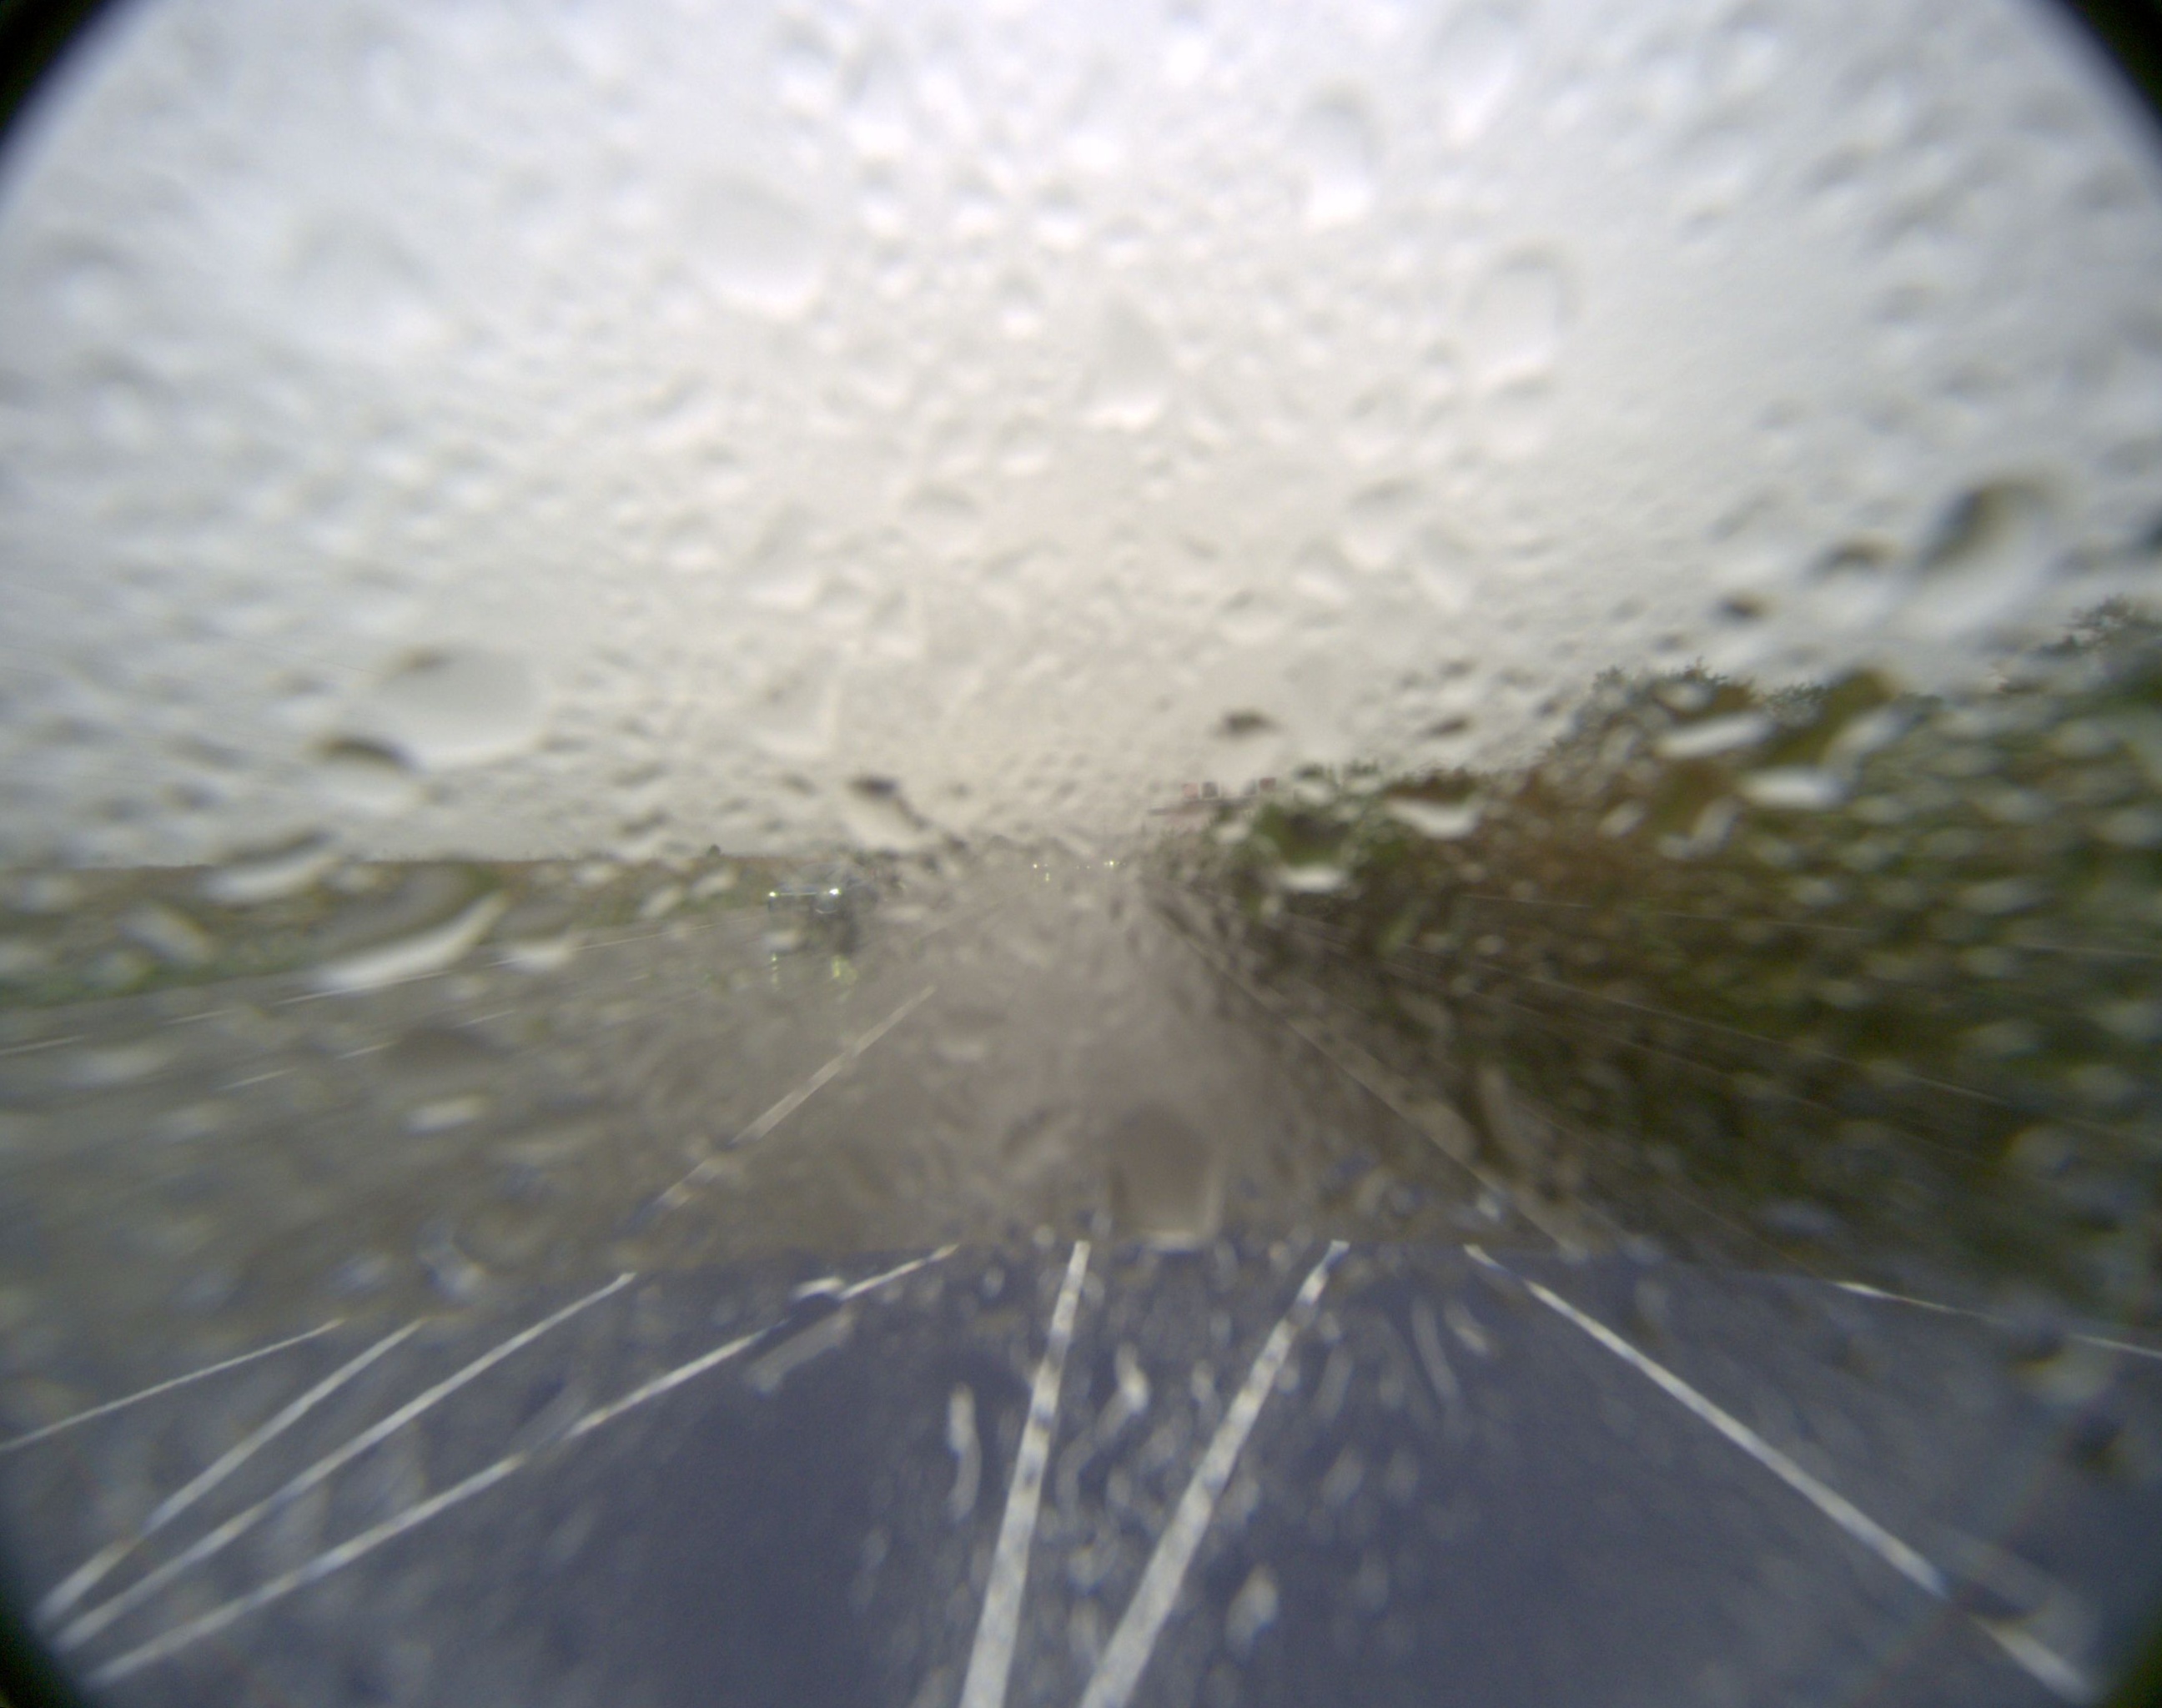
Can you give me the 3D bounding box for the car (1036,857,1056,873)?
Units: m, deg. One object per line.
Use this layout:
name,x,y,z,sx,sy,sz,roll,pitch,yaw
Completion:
car,-4.678,1.444,101.768,1.998,2.001,4.002,-3,-1,5

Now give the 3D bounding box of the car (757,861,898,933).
car,-6.723,1.063,20.824,1.998,1.609,4.993,-2,0,2

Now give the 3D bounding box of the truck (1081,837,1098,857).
truck,2.120,-1.573,188.027,3.135,4.641,11.408,-2,-1,5

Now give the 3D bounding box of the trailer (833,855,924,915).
trailer,-6.548,0.962,24.937,1.983,1.774,3.189,-2,0,2

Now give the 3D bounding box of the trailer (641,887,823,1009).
trailer,-7.318,1.882,16.462,1.999,2.002,3.999,-3,1,0

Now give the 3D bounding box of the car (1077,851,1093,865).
car,0.624,0.665,114.186,1.997,2.001,4.002,-2,0,7
